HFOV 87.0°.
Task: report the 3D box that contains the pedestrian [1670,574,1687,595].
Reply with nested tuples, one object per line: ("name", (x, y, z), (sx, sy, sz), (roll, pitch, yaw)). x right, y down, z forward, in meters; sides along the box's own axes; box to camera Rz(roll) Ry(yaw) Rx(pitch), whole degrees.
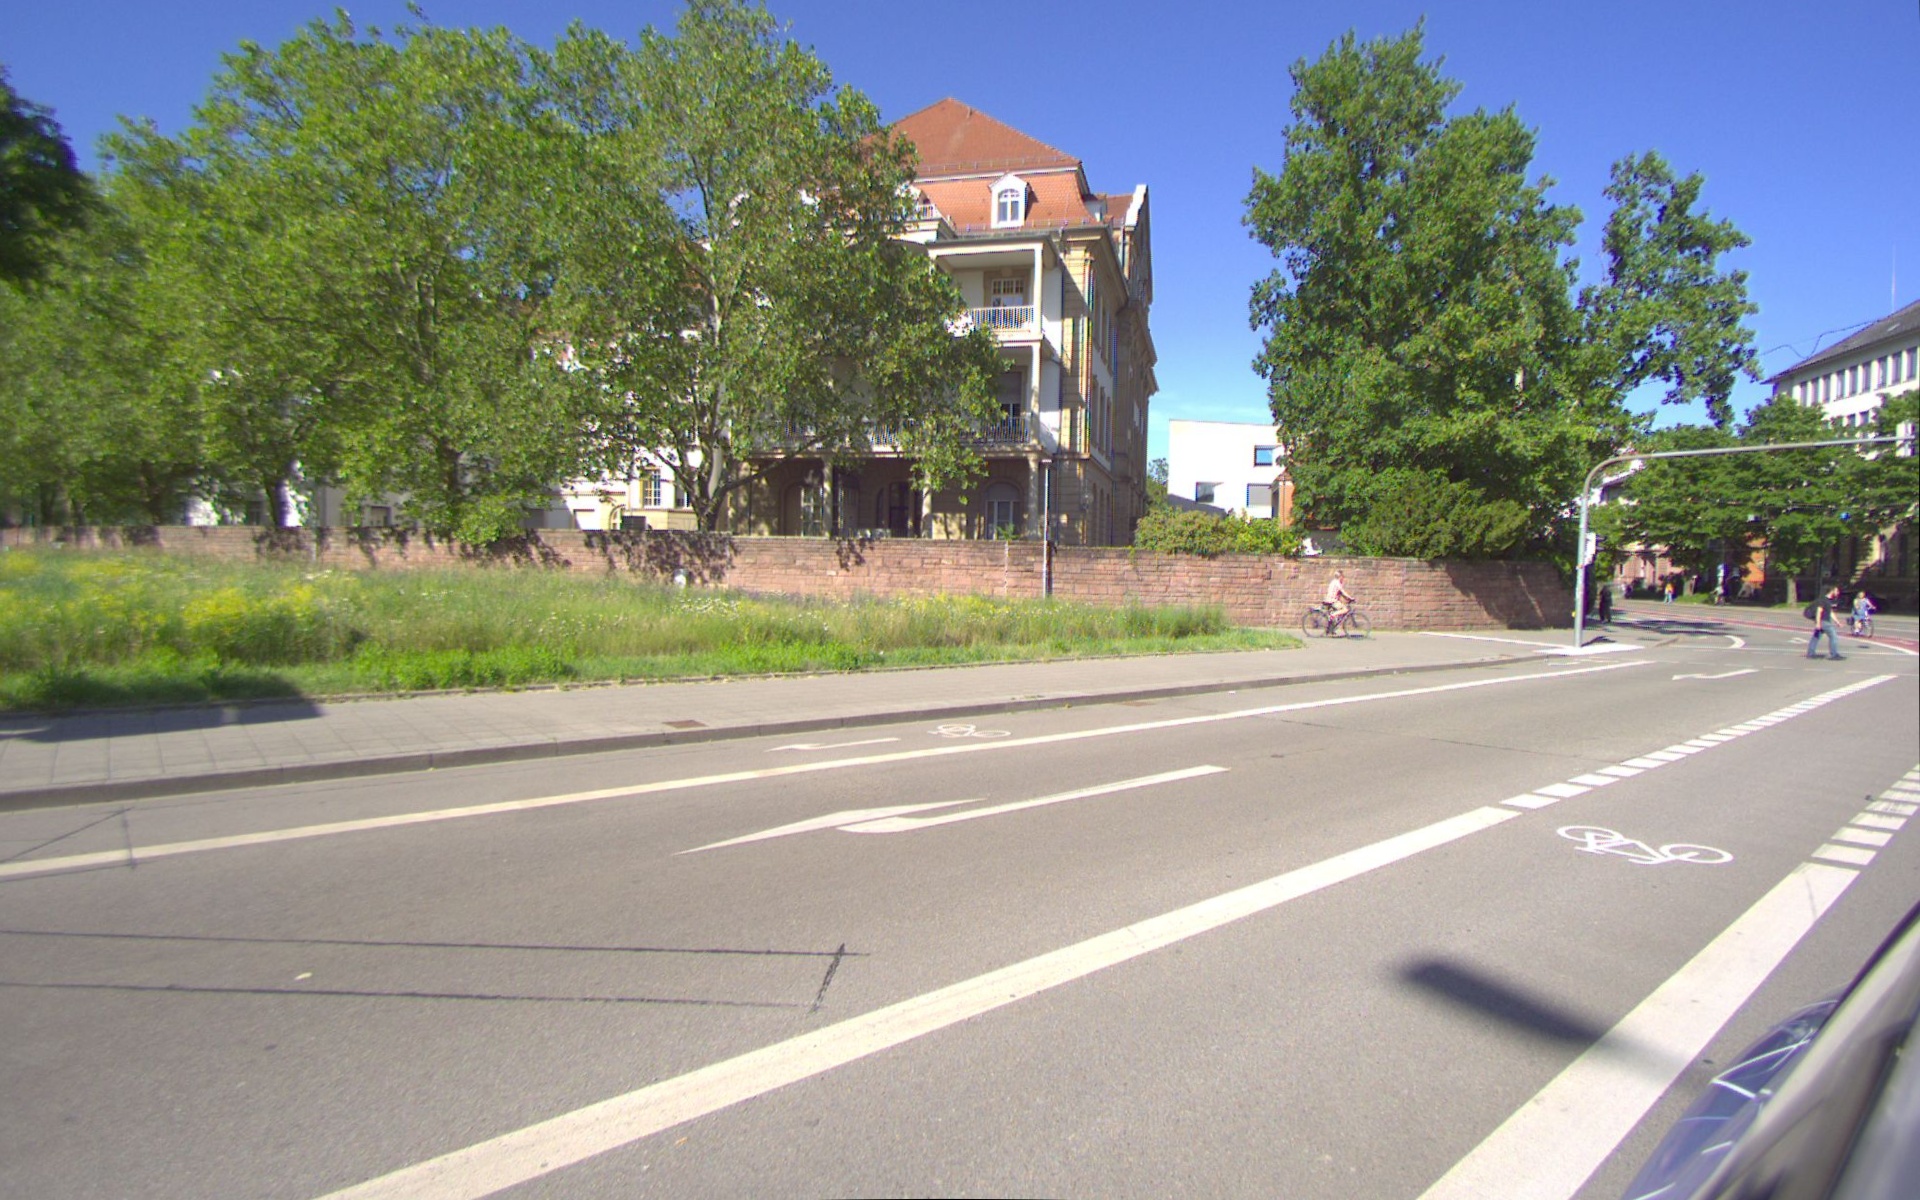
("pedestrian", (63.946, -1.398, 90.070), (0.745, 1.835, 0.978), (1, 1, 9))

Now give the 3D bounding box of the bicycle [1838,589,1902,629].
("bicycle", (33.878, 0.311, 37.727), (0.753, 1.385, 2.720), (2, 2, 20))

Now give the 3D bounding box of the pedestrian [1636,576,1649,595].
("pedestrian", (67.473, -1.436, 100.002), (0.747, 1.836, 0.975), (1, -2, 15))

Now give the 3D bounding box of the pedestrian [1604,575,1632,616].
("pedestrian", (28.949, -0.206, 44.503), (0.935, 1.742, 0.983), (2, 2, 37))

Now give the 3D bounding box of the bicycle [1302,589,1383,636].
("bicycle", (9.951, 0.314, 26.416), (1.858, 1.083, 0.721), (3, 1, 16))

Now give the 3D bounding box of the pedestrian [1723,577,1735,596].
("pedestrian", (59.204, -1.024, 77.913), (0.589, 1.420, 0.641), (0, 0, 21))

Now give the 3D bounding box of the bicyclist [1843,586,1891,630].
("bicyclist", (33.832, 0.288, 37.779), (0.859, 1.579, 1.272), (2, 2, 20))

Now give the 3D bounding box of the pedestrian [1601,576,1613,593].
("pedestrian", (69.735, -1.702, 109.127), (0.745, 1.835, 0.978), (1, 1, 10))

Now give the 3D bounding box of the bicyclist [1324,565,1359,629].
("bicyclist", (9.960, -0.094, 26.415), (0.767, 1.626, 0.719), (1, 1, 16))

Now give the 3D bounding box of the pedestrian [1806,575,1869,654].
("pedestrian", (21.809, 0.351, 25.153), (0.718, 1.872, 0.961), (0, 3, -38))

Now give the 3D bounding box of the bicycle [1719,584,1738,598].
("bicycle", (59.253, -0.703, 78.069), (0.593, 1.019, 1.975), (0, 1, 20))

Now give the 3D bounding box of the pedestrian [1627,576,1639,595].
("pedestrian", (66.627, -1.434, 100.237), (0.747, 1.836, 0.974), (1, -2, 19))
